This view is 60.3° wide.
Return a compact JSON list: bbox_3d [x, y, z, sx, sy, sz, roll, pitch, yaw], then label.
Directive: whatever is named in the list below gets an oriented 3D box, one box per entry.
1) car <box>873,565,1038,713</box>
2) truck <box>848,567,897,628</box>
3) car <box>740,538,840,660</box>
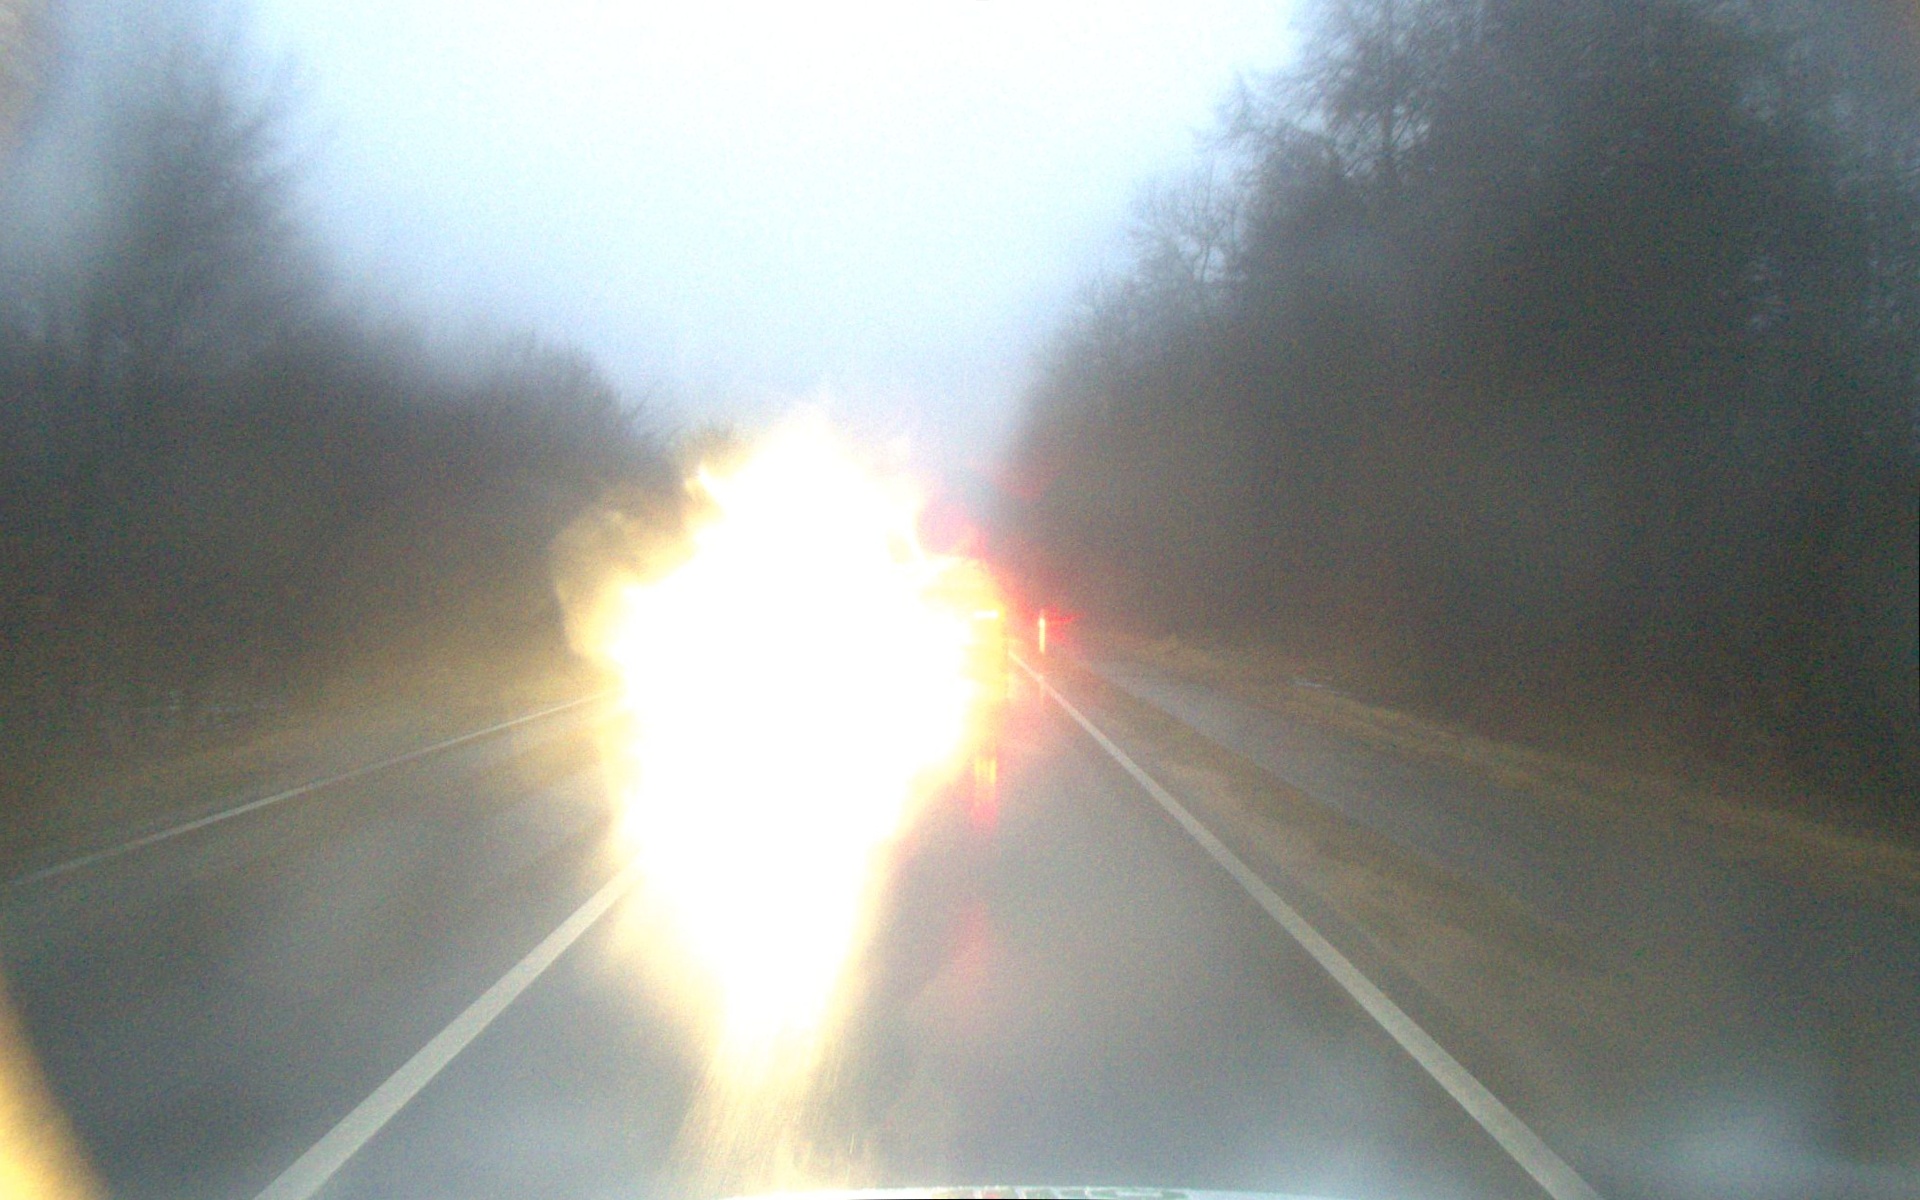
[{"bbox_3d":[-0.097,0.516,24.299,2.153,1.910,4.826,1,0,-1],"label":"car"},{"bbox_3d":[-4.205,-0.140,80.439,2.060,2.820,6.870,1,0,-1],"label":"truck"},{"bbox_3d":[-4.228,-0.020,42.184,2.032,2.860,6.650,1,0,-2],"label":"car"}]
